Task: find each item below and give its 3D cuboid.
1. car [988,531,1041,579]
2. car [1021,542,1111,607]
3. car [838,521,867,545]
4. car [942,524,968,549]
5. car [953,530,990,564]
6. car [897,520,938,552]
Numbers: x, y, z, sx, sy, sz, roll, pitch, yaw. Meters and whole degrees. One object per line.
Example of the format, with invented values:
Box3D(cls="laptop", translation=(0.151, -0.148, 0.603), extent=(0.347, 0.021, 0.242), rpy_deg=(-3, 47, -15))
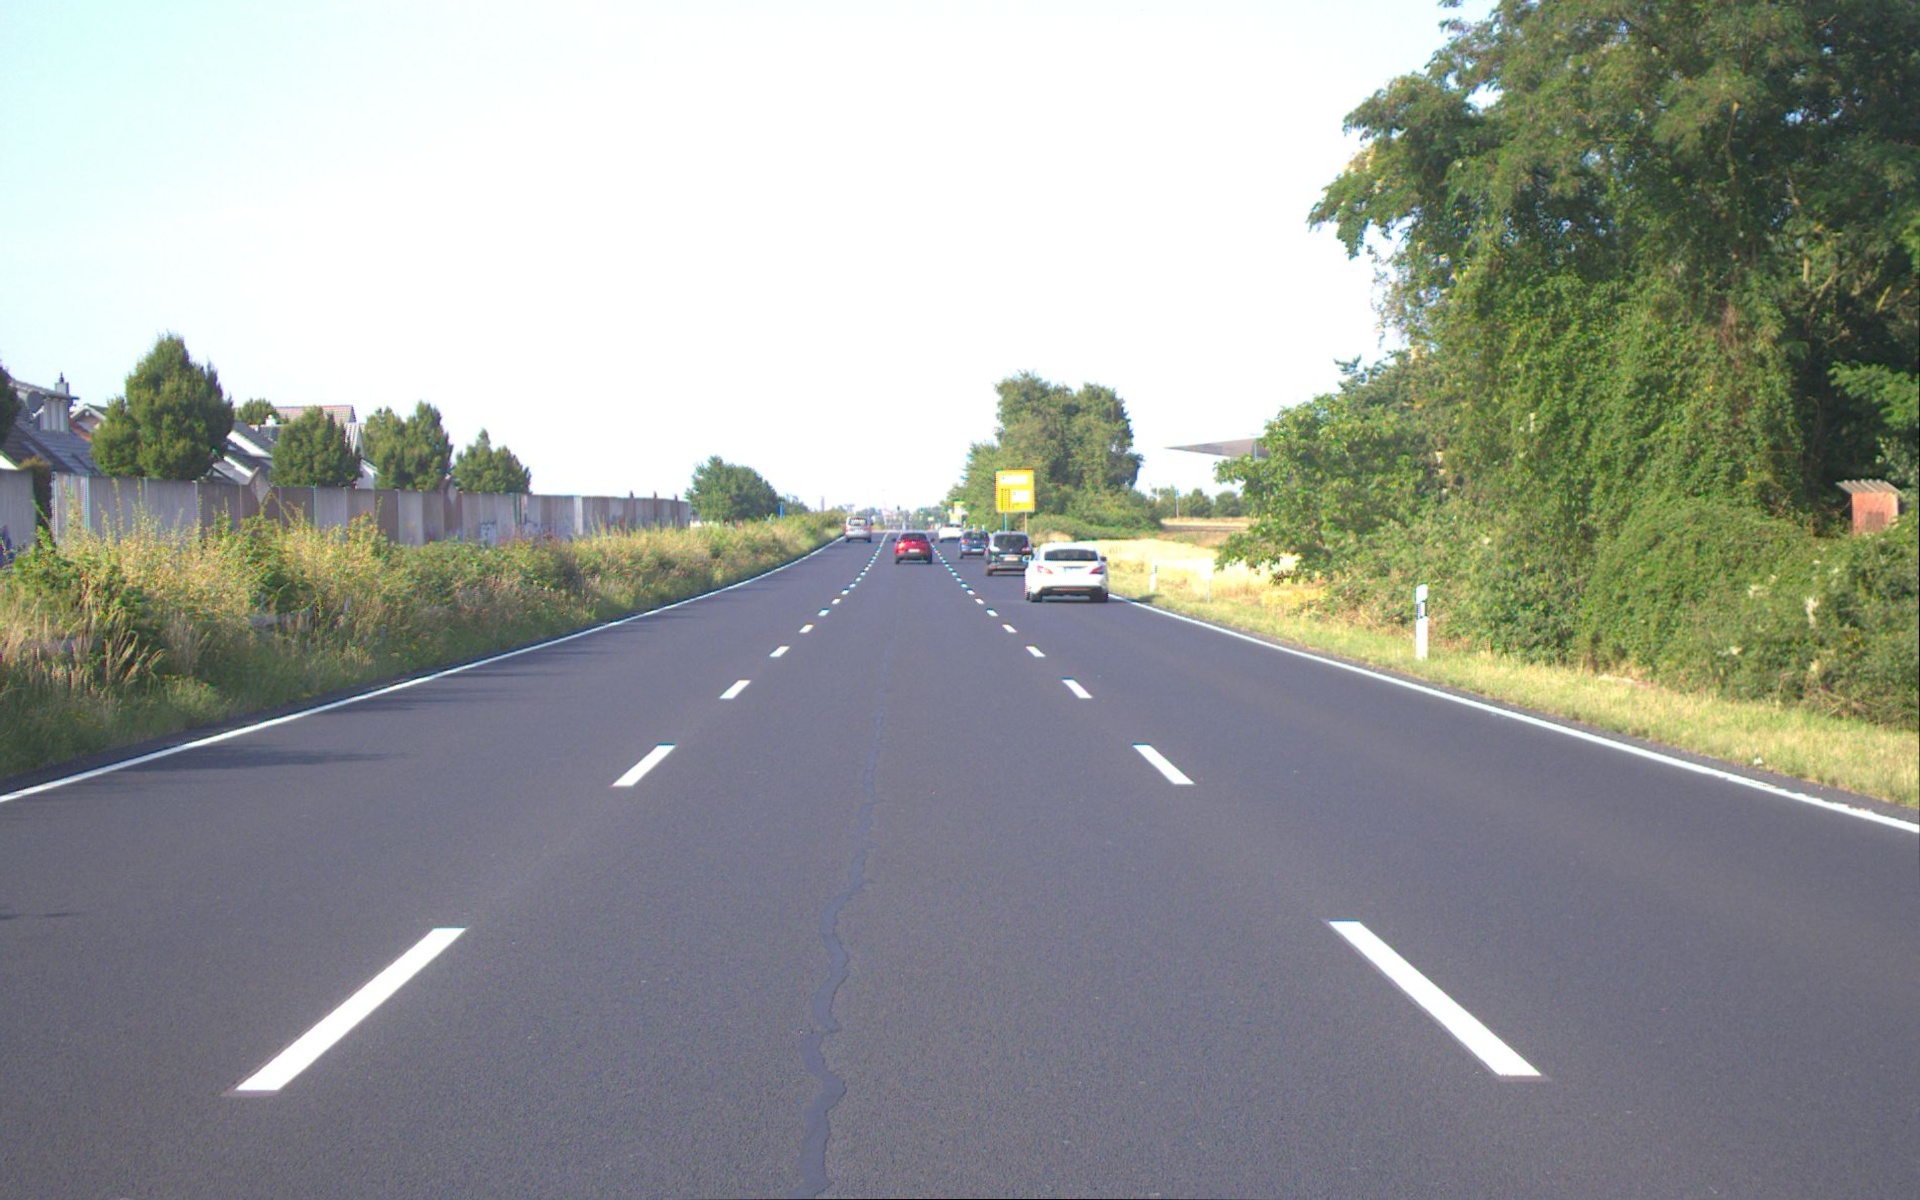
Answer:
Box3D(cls="car", translation=(2.016, -1.678, 128.475), extent=(1.828, 1.722, 4.000), rpy_deg=(1, 1, -1))
Box3D(cls="car", translation=(2.547, -0.627, 83.572), extent=(1.993, 1.511, 4.000), rpy_deg=(1, 1, -1))
Box3D(cls="car", translation=(-7.860, -4.878, 251.759), extent=(1.993, 1.711, 4.000), rpy_deg=(1, 1, -1))
Box3D(cls="car", translation=(-0.380, -4.643, 252.578), extent=(1.847, 1.744, 4.000), rpy_deg=(1, 1, 0))
Box3D(cls="car", translation=(0.604, -2.718, 177.028), extent=(1.834, 1.711, 3.862), rpy_deg=(1, 1, -1))
Box3D(cls="car", translation=(-1.981, -2.979, 160.377), extent=(1.812, 1.431, 3.859), rpy_deg=(1, 1, -2))
